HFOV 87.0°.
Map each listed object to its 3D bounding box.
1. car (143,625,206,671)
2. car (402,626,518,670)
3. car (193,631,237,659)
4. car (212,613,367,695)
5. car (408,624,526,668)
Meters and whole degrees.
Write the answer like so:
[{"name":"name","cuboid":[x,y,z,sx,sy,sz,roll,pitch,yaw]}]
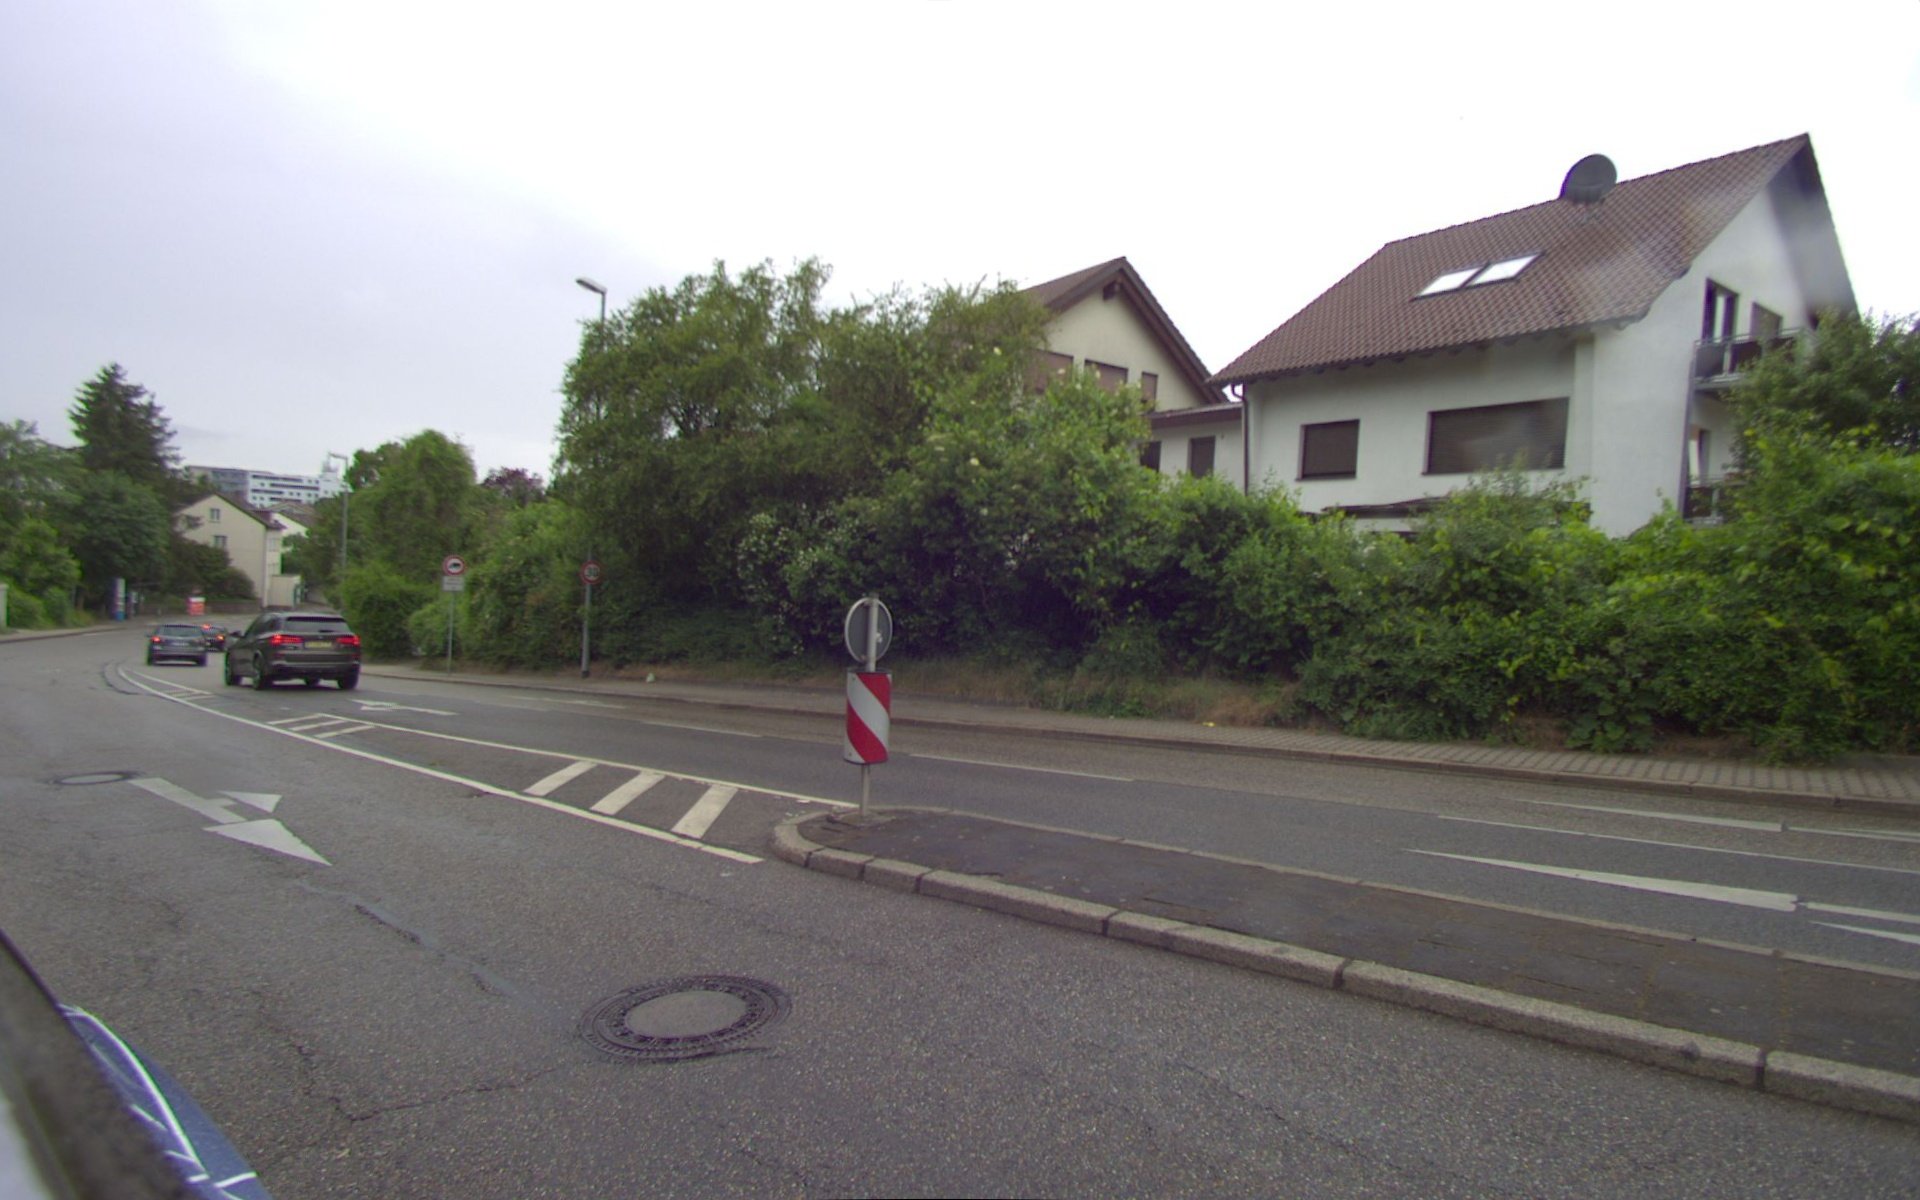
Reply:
[{"name":"car","cuboid":[-29.567,1.800,38.172,1.719,1.614,4.040,3,-3,-37]},{"name":"car","cuboid":[-20.981,1.980,42.541,3.939,1.548,2.003,-3,1,-42]},{"name":"car","cuboid":[-41.729,2.507,56.690,1.870,1.521,4.008,3,-3,-37]},{"name":"car","cuboid":[-15.912,1.227,23.915,4.717,1.730,1.971,-1,-3,43]},{"name":"car","cuboid":[-19.500,1.772,40.098,3.853,1.451,1.814,-3,1,-41]}]
